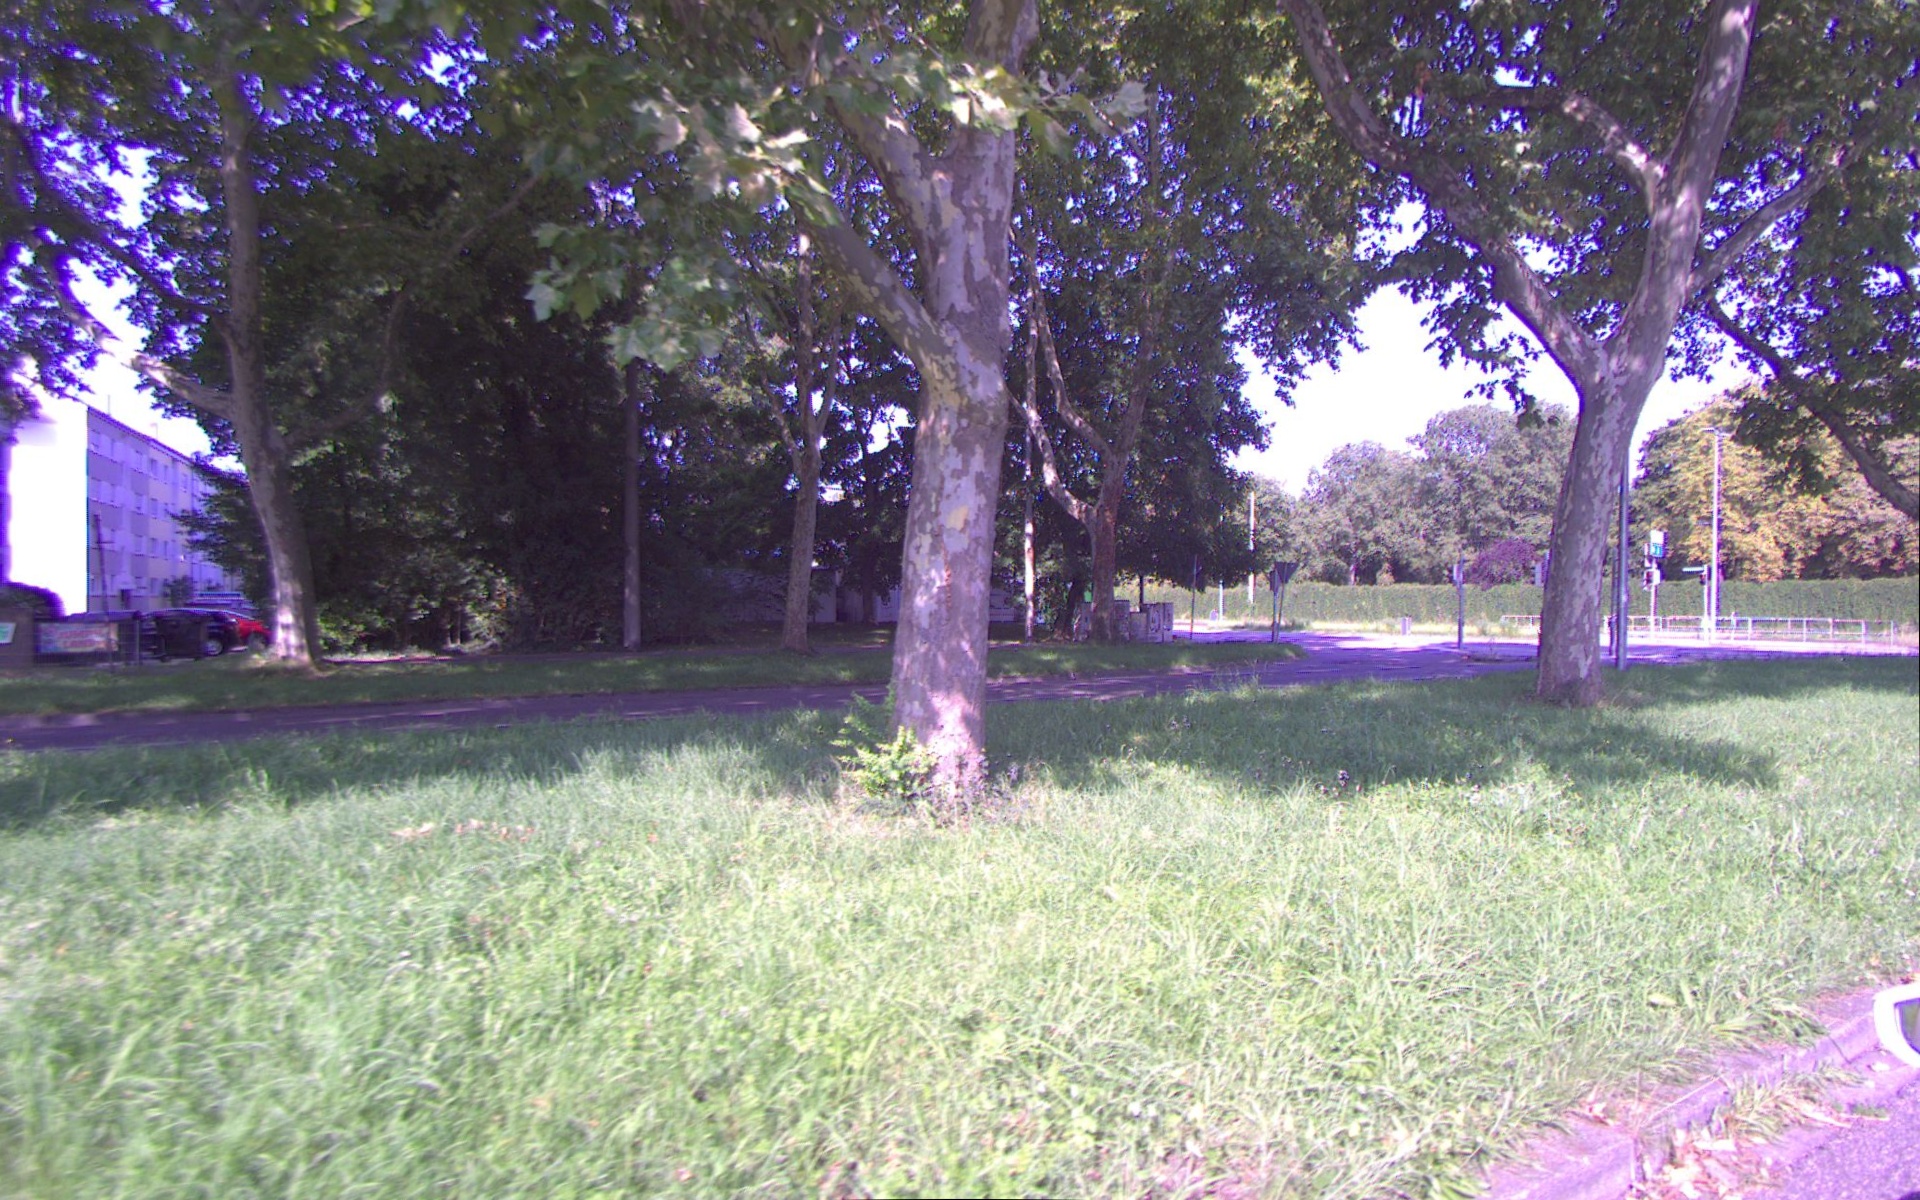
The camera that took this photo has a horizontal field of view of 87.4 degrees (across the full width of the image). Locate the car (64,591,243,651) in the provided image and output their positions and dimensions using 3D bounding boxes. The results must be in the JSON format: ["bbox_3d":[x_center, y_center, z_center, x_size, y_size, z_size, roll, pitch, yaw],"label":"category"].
[{"bbox_3d":[-24.542,0.627,30.741,3.946,1.749,1.691,1,0,-26],"label":"car"}]

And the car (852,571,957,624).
[{"bbox_3d":[-2.656,-0.105,48.366,4.664,2.473,2.164,0,0,-36],"label":"car"}]

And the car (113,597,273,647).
[{"bbox_3d":[-25.446,0.716,33.489,3.946,1.588,1.691,1,0,-26],"label":"car"}]

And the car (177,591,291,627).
[{"bbox_3d":[-33.241,0.412,46.101,3.946,1.588,1.691,1,0,-26],"label":"car"}]

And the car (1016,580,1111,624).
[{"bbox_3d":[5.667,0.122,54.512,5.072,2.293,2.016,1,0,-36],"label":"car"}]

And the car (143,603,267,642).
[{"bbox_3d":[-32.146,0.928,42.889,3.946,1.588,1.691,1,0,-26],"label":"car"}]

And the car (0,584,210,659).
[{"bbox_3d":[-21.381,0.513,24.793,4.329,1.749,1.691,1,0,-26],"label":"car"}]

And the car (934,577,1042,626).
[{"bbox_3d":[1.313,0.091,46.609,4.664,2.165,2.164,0,0,-36],"label":"car"}]
